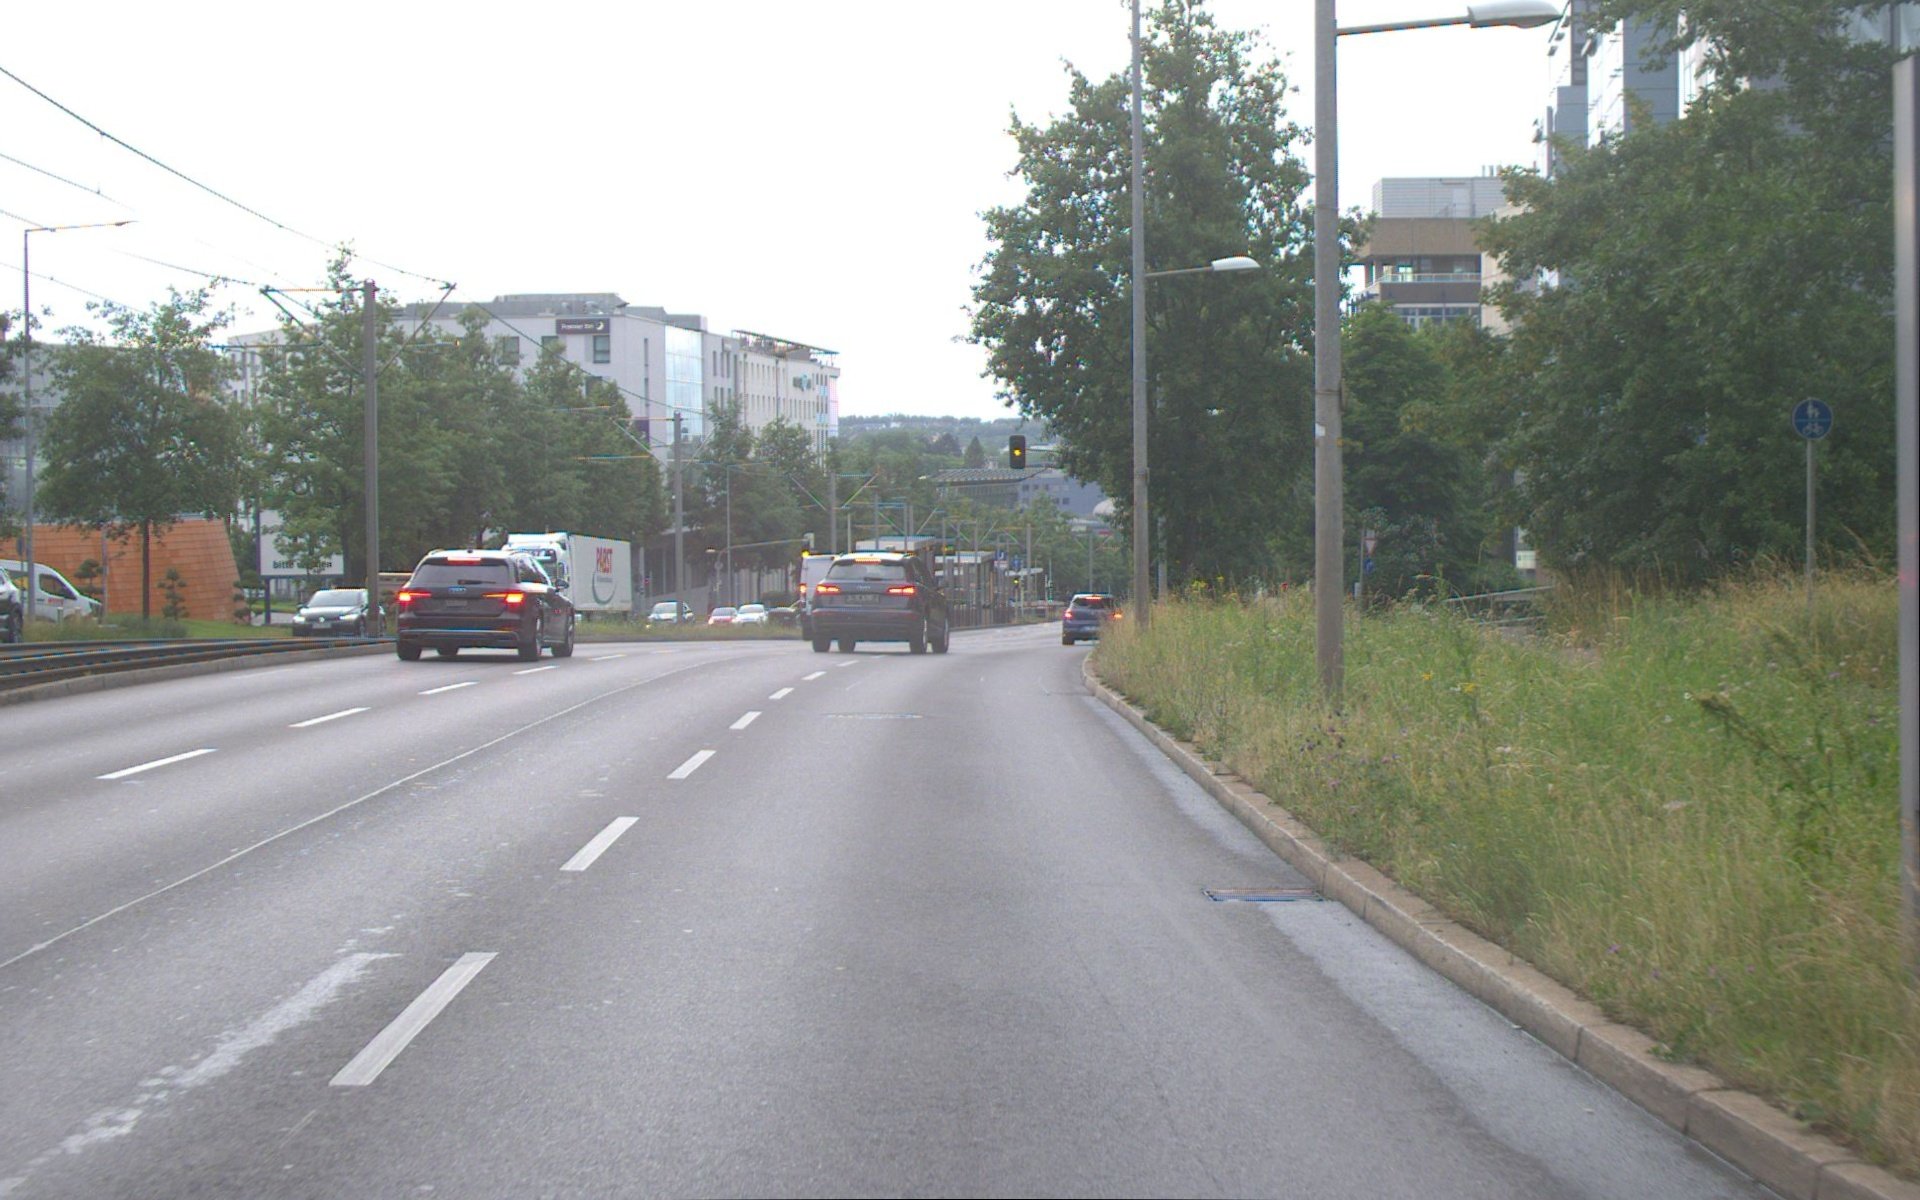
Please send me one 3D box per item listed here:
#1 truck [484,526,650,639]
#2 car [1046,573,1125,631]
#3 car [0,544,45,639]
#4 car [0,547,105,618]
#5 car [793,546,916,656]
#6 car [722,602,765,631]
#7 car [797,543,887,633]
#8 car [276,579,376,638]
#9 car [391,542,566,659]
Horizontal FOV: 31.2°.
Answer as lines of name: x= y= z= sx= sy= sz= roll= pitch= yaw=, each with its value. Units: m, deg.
truck: x=-15.528 y=-0.725 z=137.573 sx=3.042 sy=4.166 sz=17.198 roll=1 pitch=1 yaw=5
car: x=3.548 y=0.030 z=97.741 sx=1.789 sy=1.585 sz=4.001 roll=-1 pitch=0 yaw=-4
car: x=-17.125 y=-0.160 z=58.281 sx=1.805 sy=1.611 sz=4.385 roll=1 pitch=-1 yaw=3
car: x=-31.984 y=-0.619 z=117.012 sx=5.302 sy=2.305 sz=2.020 roll=1 pitch=-1 yaw=-5
car: x=-1.745 y=-0.012 z=56.950 sx=1.922 sy=1.705 sz=4.098 roll=1 pitch=1 yaw=-2
car: x=-11.417 y=0.874 z=181.544 sx=1.663 sy=1.437 sz=3.895 roll=1 pitch=-1 yaw=5
car: x=-3.110 y=-0.347 z=91.677 sx=2.268 sy=2.277 sz=4.760 roll=1 pitch=1 yaw=-1
car: x=-16.523 y=0.249 z=89.781 sx=1.667 sy=1.457 sz=4.238 roll=1 pitch=-1 yaw=2
car: x=-6.200 y=-0.028 z=44.708 sx=1.785 sy=1.409 sz=4.806 roll=1 pitch=1 yaw=-2
